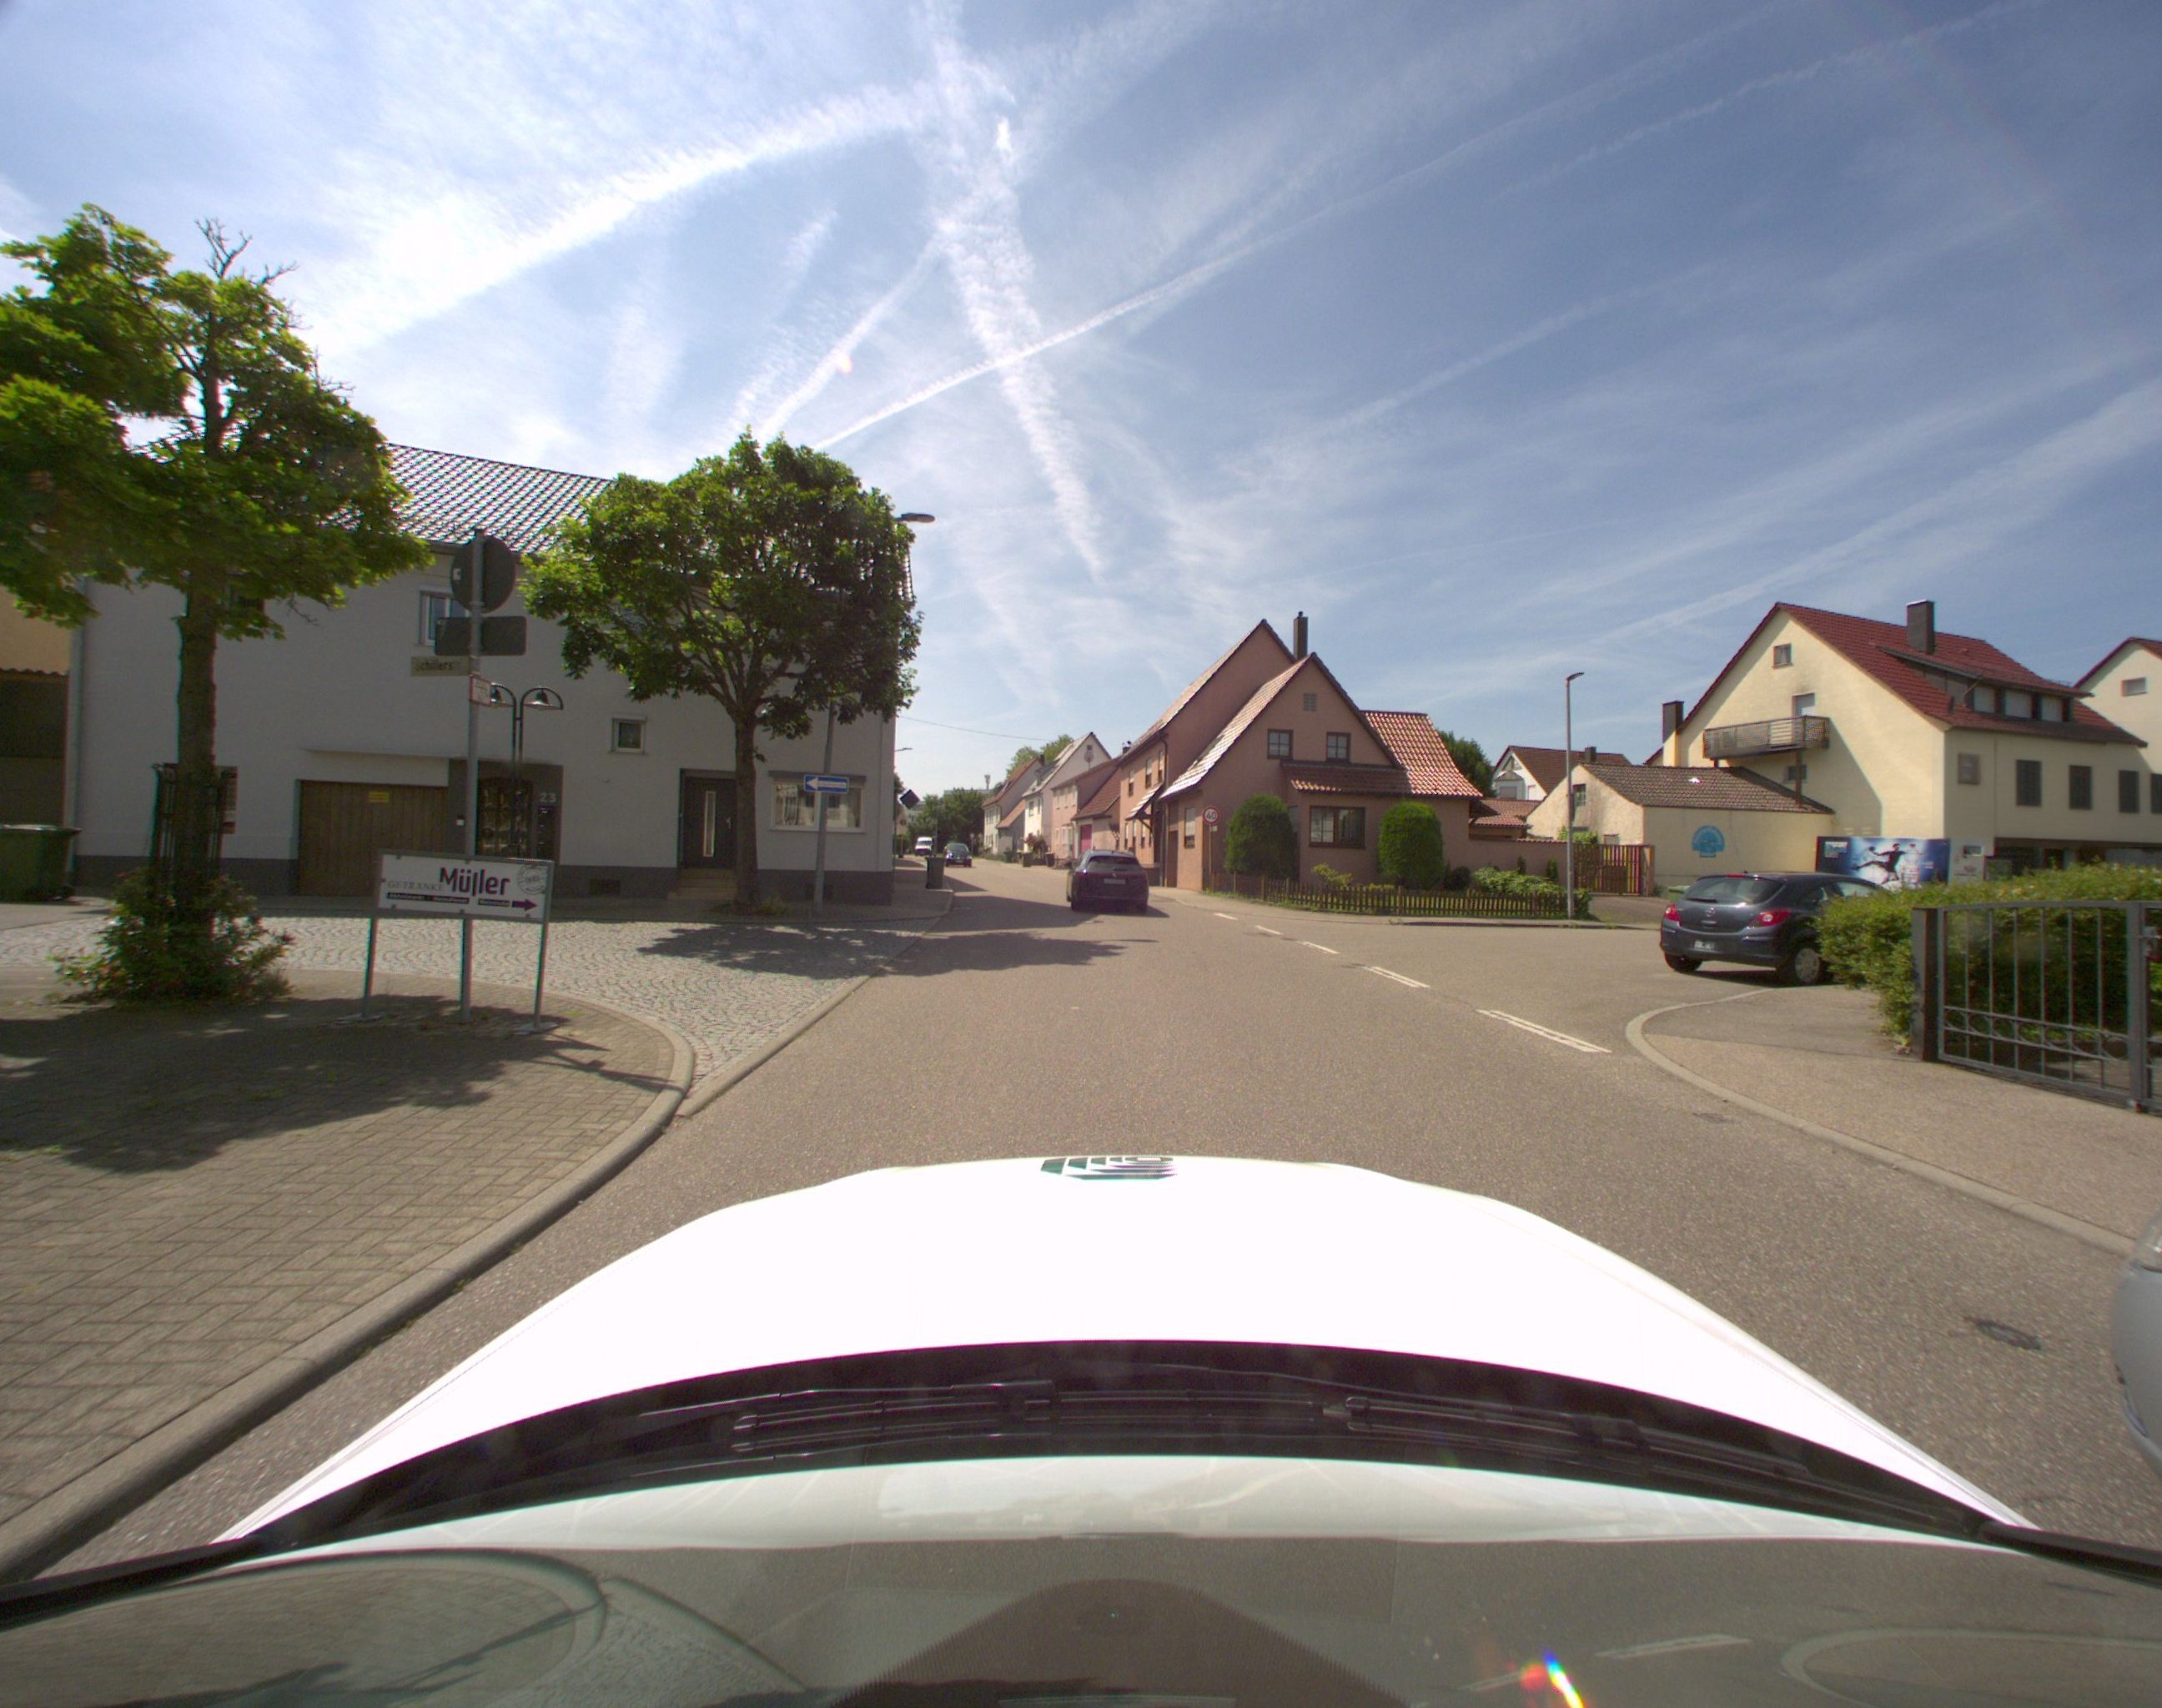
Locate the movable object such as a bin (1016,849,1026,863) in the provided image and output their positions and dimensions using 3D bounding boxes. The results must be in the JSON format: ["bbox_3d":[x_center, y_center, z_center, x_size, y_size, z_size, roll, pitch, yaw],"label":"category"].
[{"bbox_3d":[-4.996,0.163,68.077,0.666,1.194,0.585,2,0,-15],"label":"movable object such as a bin"}]

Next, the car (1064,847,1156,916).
[{"bbox_3d":[0.594,0.582,20.342,1.837,1.420,4.677,1,1,-3],"label":"car"}]

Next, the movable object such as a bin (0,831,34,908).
[{"bbox_3d":[-15.568,0.215,11.535,0.650,1.072,0.623,2,0,-22],"label":"movable object such as a bin"}]

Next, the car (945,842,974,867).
[{"bbox_3d":[-8.269,0.010,55.206,1.800,1.555,4.057,1,1,-10],"label":"car"}]

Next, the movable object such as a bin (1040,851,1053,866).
[{"bbox_3d":[-2.498,0.311,59.142,0.680,1.050,0.830,-3,2,-19],"label":"movable object such as a bin"}]

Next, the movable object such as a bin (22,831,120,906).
[{"bbox_3d":[-14.815,0.206,11.963,0.650,1.072,0.623,2,0,-22],"label":"movable object such as a bin"}]

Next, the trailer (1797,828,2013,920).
[{"bbox_3d":[27.631,0.601,27.566,1.999,2.813,4.738,2,0,-18],"label":"trailer"}]

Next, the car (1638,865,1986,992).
[{"bbox_3d":[10.067,0.966,11.294,3.812,1.488,1.879,2,0,-17],"label":"car"}]

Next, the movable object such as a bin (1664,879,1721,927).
[{"bbox_3d":[15.190,1.206,20.252,0.499,1.095,1.005,2,0,-21],"label":"movable object such as a bin"}]

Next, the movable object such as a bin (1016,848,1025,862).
[{"bbox_3d":[-5.127,0.103,68.808,0.666,1.194,0.657,2,0,-15],"label":"movable object such as a bin"}]

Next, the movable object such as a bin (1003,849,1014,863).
[{"bbox_3d":[-6.154,0.198,68.843,0.680,1.155,0.815,2,0,-19],"label":"movable object such as a bin"}]

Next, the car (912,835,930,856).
[{"bbox_3d":[-20.221,-1.106,103.289,2.115,2.562,5.806,1,0,-10],"label":"car"}]

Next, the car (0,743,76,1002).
[{"bbox_3d":[-10.294,0.079,4.885,5.107,1.896,2.167,2,0,-11],"label":"car"}]

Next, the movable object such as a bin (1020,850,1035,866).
[{"bbox_3d":[-3.901,0.274,59.770,0.878,1.074,0.867,-3,2,-19],"label":"movable object such as a bin"}]

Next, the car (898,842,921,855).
[{"bbox_3d":[-27.527,-0.907,130.896,2.117,2.013,4.945,2,0,5],"label":"car"}]

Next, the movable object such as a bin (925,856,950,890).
[{"bbox_3d":[-4.710,0.605,26.697,0.753,1.060,0.677,2,0,-9],"label":"movable object such as a bin"}]
